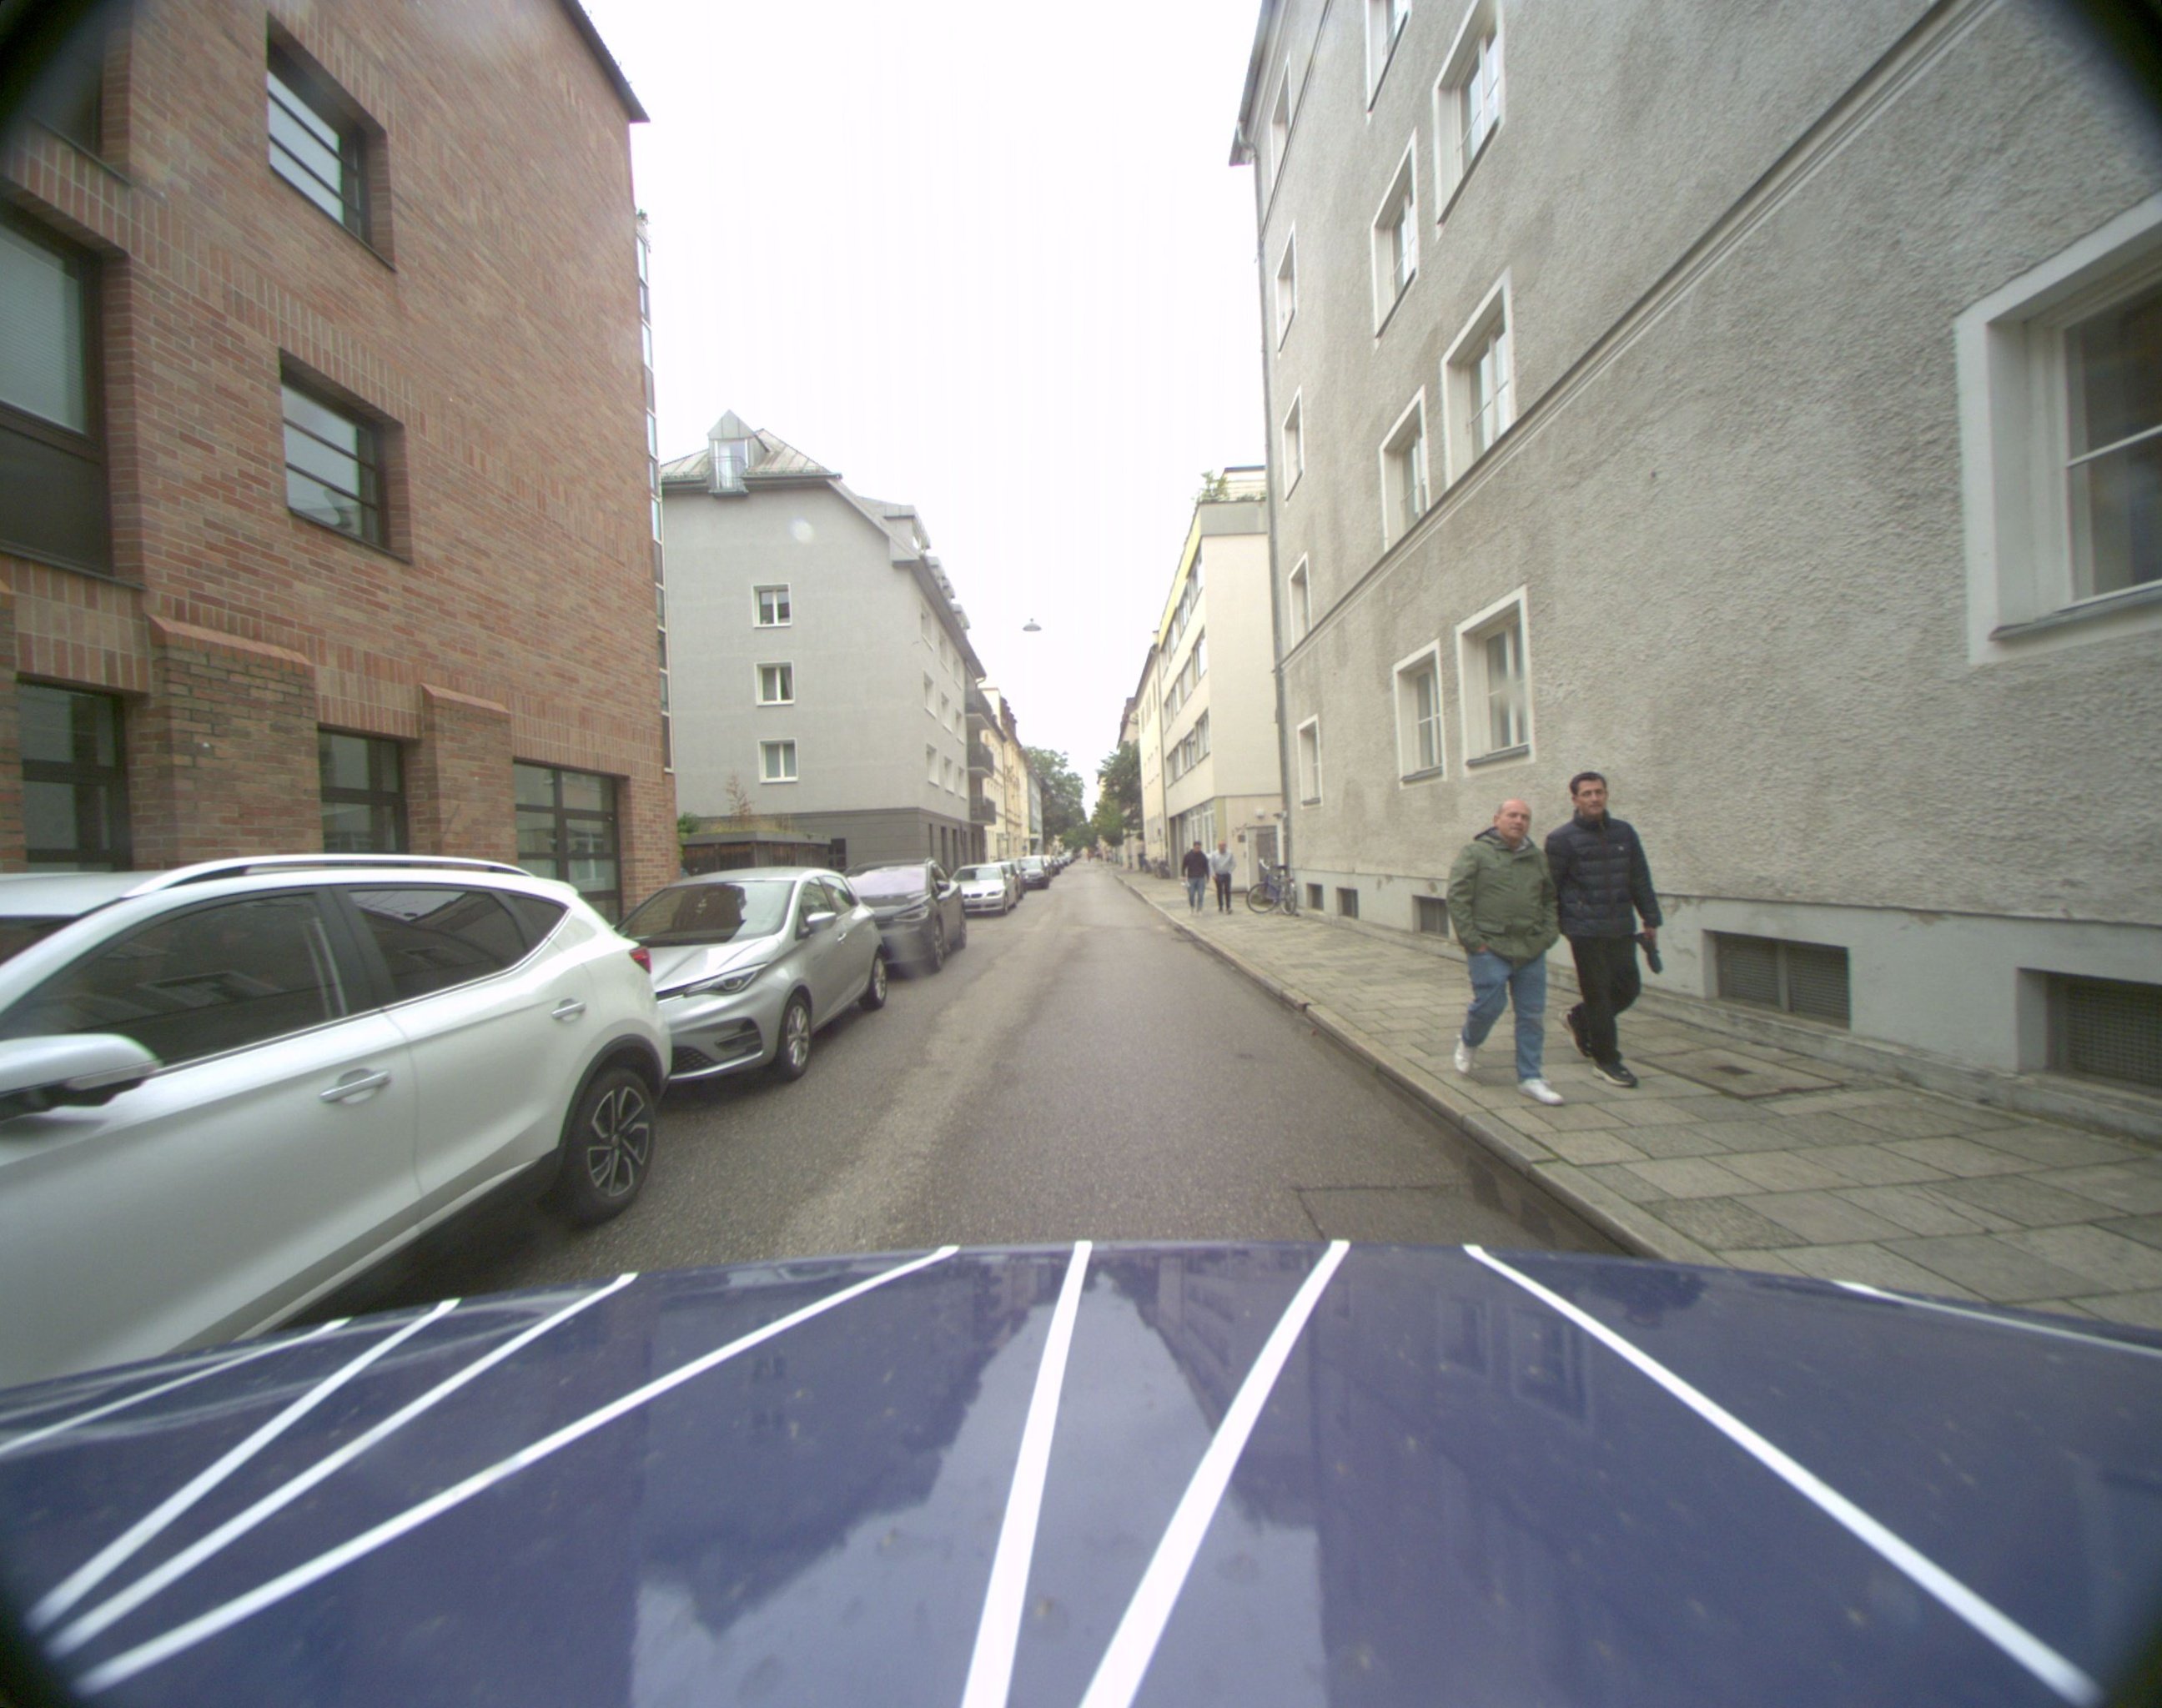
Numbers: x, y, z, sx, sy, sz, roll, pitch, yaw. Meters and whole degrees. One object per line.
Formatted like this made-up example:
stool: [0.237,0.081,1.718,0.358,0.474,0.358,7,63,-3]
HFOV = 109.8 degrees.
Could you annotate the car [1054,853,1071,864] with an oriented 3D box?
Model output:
car: [-2.404,0.580,100.215,1.998,1.259,4.000,-4,0,1]

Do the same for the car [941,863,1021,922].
car: [-2.742,1.012,21.609,1.619,1.369,3.817,-4,0,1]

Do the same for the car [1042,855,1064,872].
car: [-2.258,0.754,61.678,1.525,1.259,3.210,-4,0,1]

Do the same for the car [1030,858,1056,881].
car: [-2.316,0.953,46.768,1.352,1.259,3.037,-4,0,1]

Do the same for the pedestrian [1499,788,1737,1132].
pedestrian: [3.050,0.554,4.380,0.692,1.753,0.741,-5,1,-10]

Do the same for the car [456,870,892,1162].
car: [-2.903,1.012,6.460,1.619,1.548,3.807,-4,0,-1]

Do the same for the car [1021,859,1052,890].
car: [-2.084,0.946,35.969,1.190,1.312,2.779,-4,0,1]

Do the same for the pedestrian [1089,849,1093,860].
pedestrian: [1.677,0.141,126.679,0.697,1.834,0.691,-4,1,1]

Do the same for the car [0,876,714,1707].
car: [-2.936,0.992,2.030,1.725,1.606,4.454,-4,0,-1]

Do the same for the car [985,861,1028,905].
car: [-2.607,0.998,26.913,1.154,1.367,2.685,-4,0,1]

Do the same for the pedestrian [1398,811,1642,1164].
pedestrian: [2.323,0.651,4.132,0.691,1.668,0.859,-5,1,-1]

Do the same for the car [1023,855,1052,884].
car: [-2.417,0.837,42.596,1.352,1.505,3.037,-4,0,1]

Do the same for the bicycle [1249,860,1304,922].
bicycle: [3.958,0.722,15.490,0.450,1.187,1.498,-4,1,-9]

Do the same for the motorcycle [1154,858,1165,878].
motorcycle: [4.000,0.723,38.922,0.324,0.968,1.961,-4,0,1]

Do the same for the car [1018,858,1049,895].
car: [-1.994,0.920,32.081,1.043,1.429,2.251,-4,1,1]

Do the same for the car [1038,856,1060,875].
car: [-2.348,0.830,56.446,1.352,1.259,3.037,-4,0,1]

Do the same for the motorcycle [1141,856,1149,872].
motorcycle: [4.090,0.658,48.517,0.324,0.968,1.961,-4,0,1]

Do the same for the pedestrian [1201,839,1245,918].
pedestrian: [3.275,0.561,17.586,0.695,1.718,0.841,-7,1,1]

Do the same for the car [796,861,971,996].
car: [-2.810,0.971,11.735,1.619,1.570,4.051,-4,0,-1]

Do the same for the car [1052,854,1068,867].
car: [-2.274,0.661,82.723,1.557,1.280,3.538,-4,0,1]

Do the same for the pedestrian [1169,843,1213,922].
pedestrian: [2.543,0.646,17.587,0.722,1.718,0.841,-7,1,1]

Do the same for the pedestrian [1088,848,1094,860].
pedestrian: [1.647,0.046,127.885,0.862,2.002,0.786,-4,1,1]
